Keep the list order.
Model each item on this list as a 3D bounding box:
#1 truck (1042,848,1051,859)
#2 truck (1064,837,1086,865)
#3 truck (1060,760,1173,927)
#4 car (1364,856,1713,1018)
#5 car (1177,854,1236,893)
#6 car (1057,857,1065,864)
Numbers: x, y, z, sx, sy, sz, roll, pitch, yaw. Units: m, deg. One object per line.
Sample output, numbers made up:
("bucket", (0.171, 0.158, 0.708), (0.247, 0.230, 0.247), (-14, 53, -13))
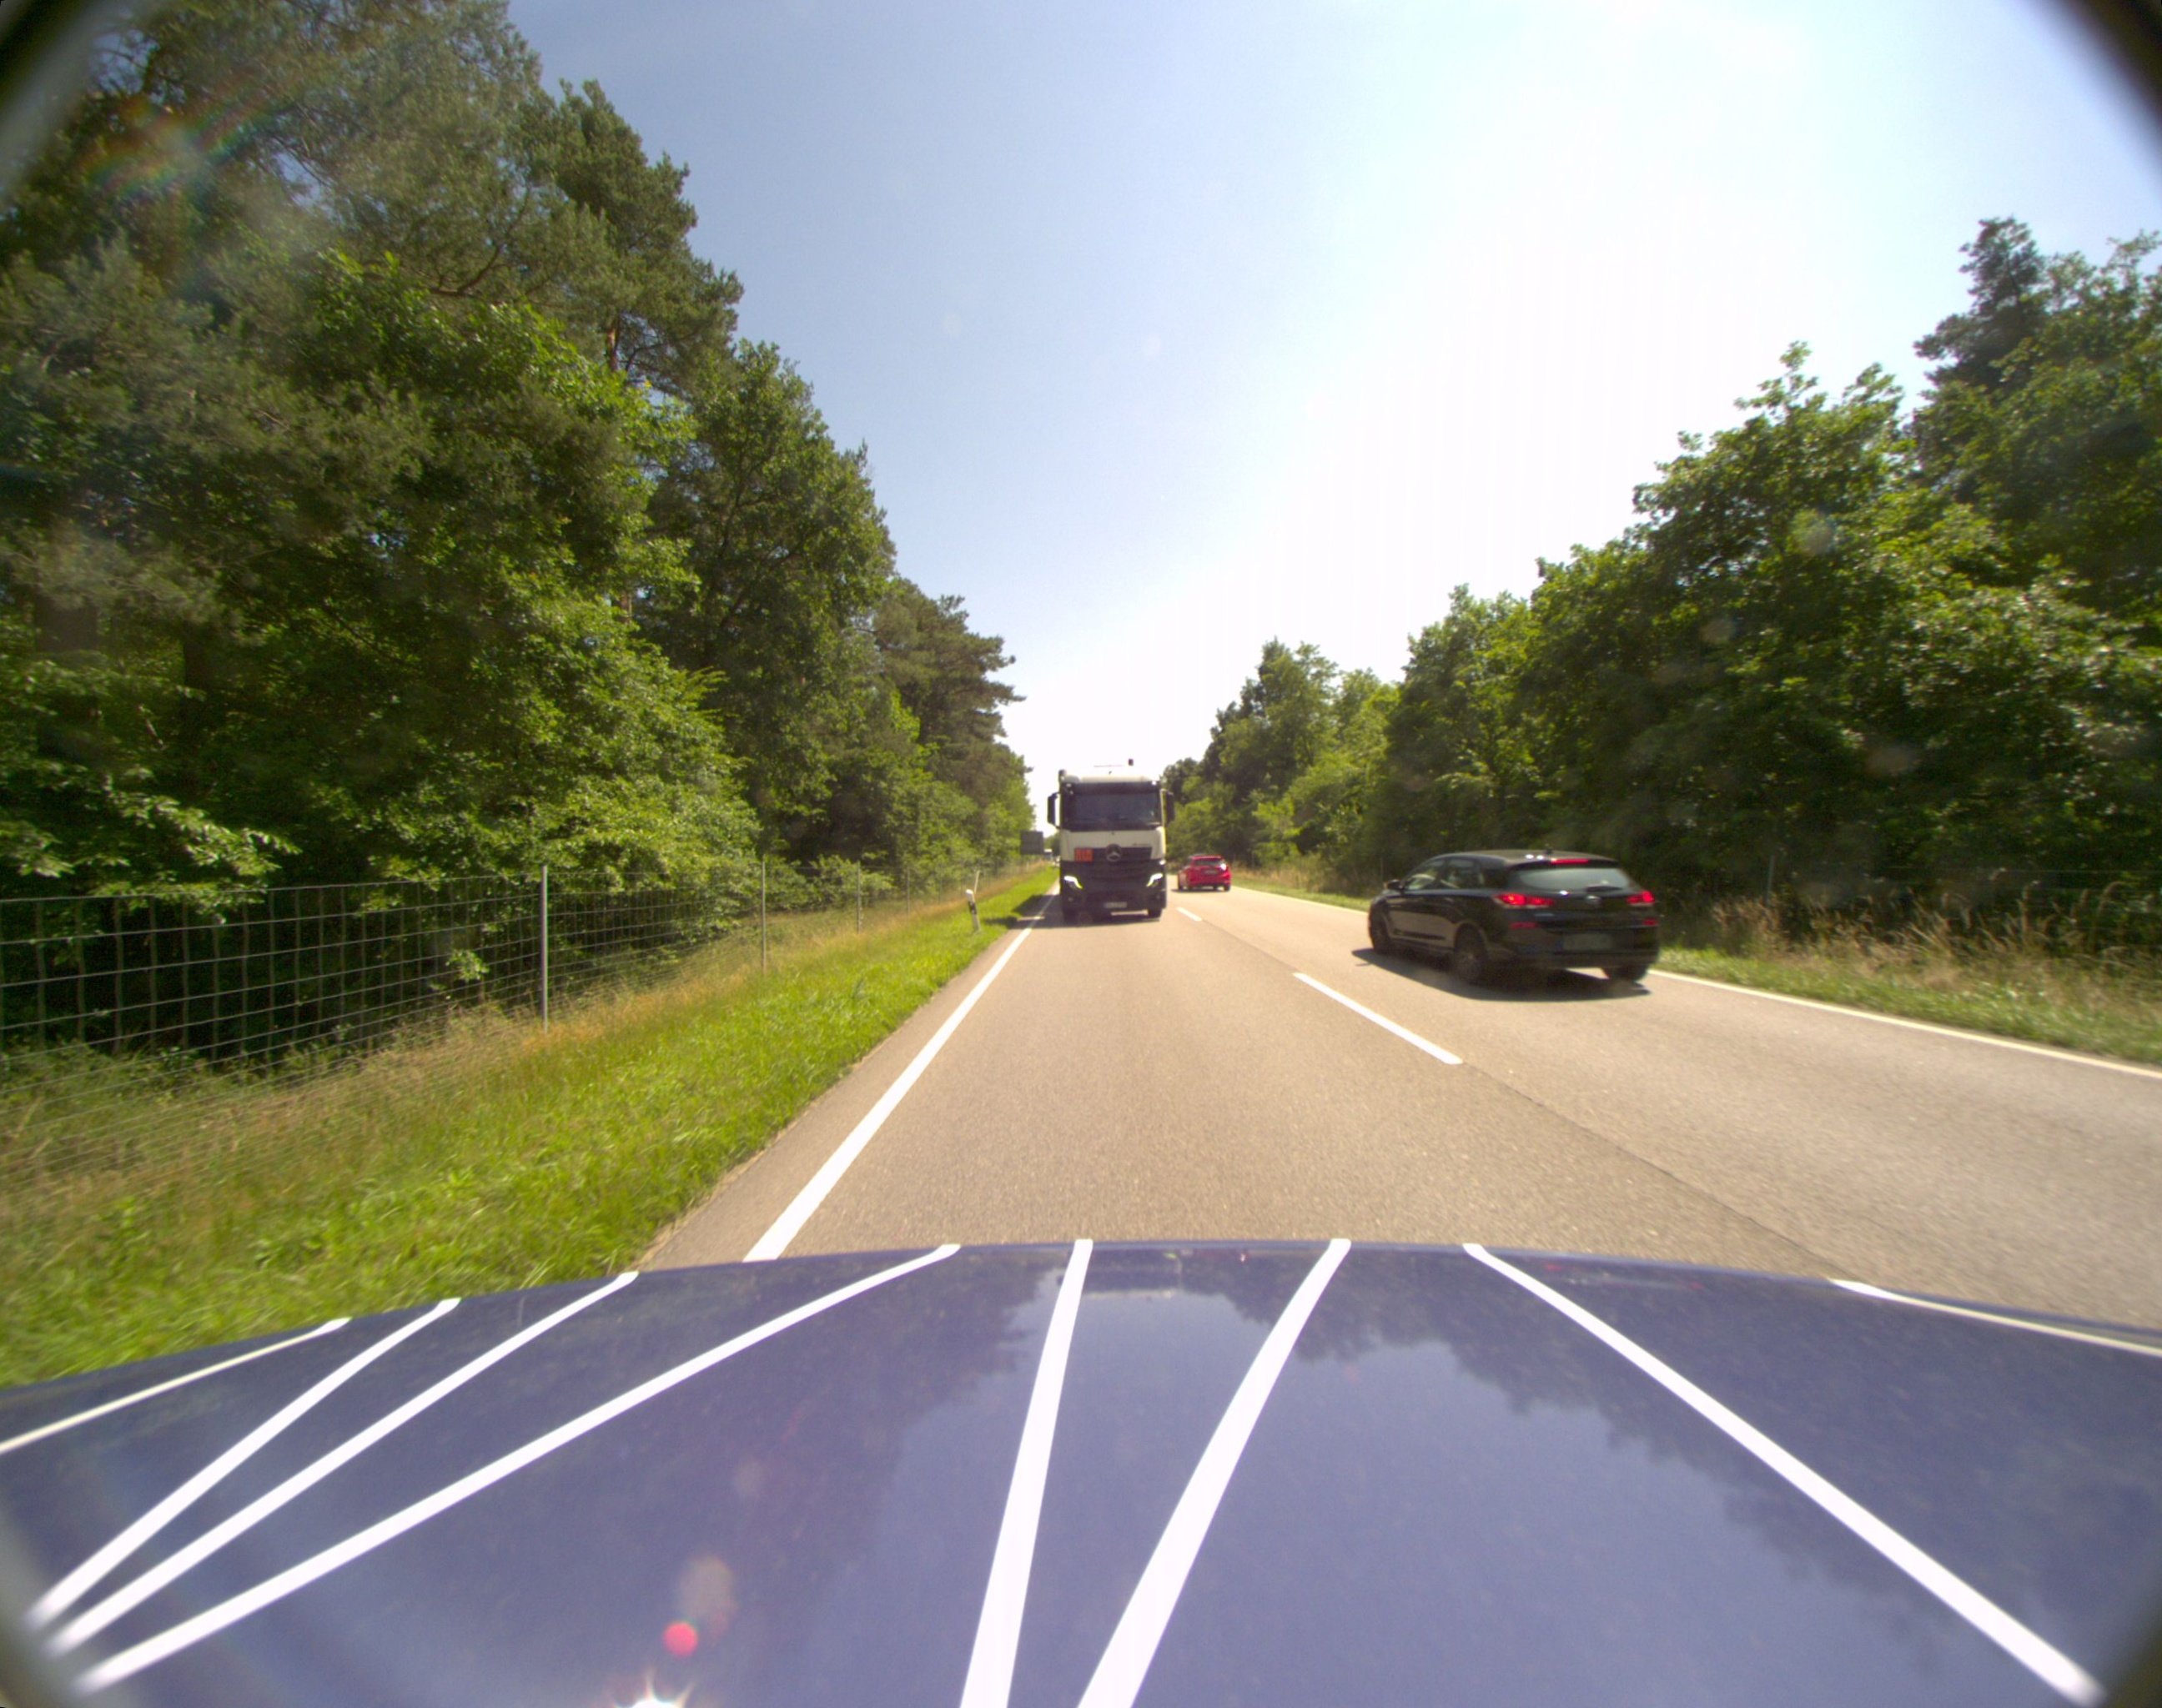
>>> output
("truck", (-11.439, -0.101, 249.840), (2.495, 3.619, 6.099), (-1, 0, -7))
("truck", (-0.771, -0.371, 101.642), (2.493, 3.619, 6.104), (-2, 0, 2))
("truck", (0.742, -0.227, 20.247), (2.435, 3.672, 6.456), (-2, 0, -1))
("car", (4.997, 0.778, 9.071), (1.732, 1.447, 4.062), (-1, 0, 1))
("car", (5.084, 0.742, 31.167), (1.784, 1.443, 3.793), (-1, 0, 0))
("car", (-4.479, 1.438, 169.217), (1.885, 1.461, 3.999), (-1, 0, -1))
